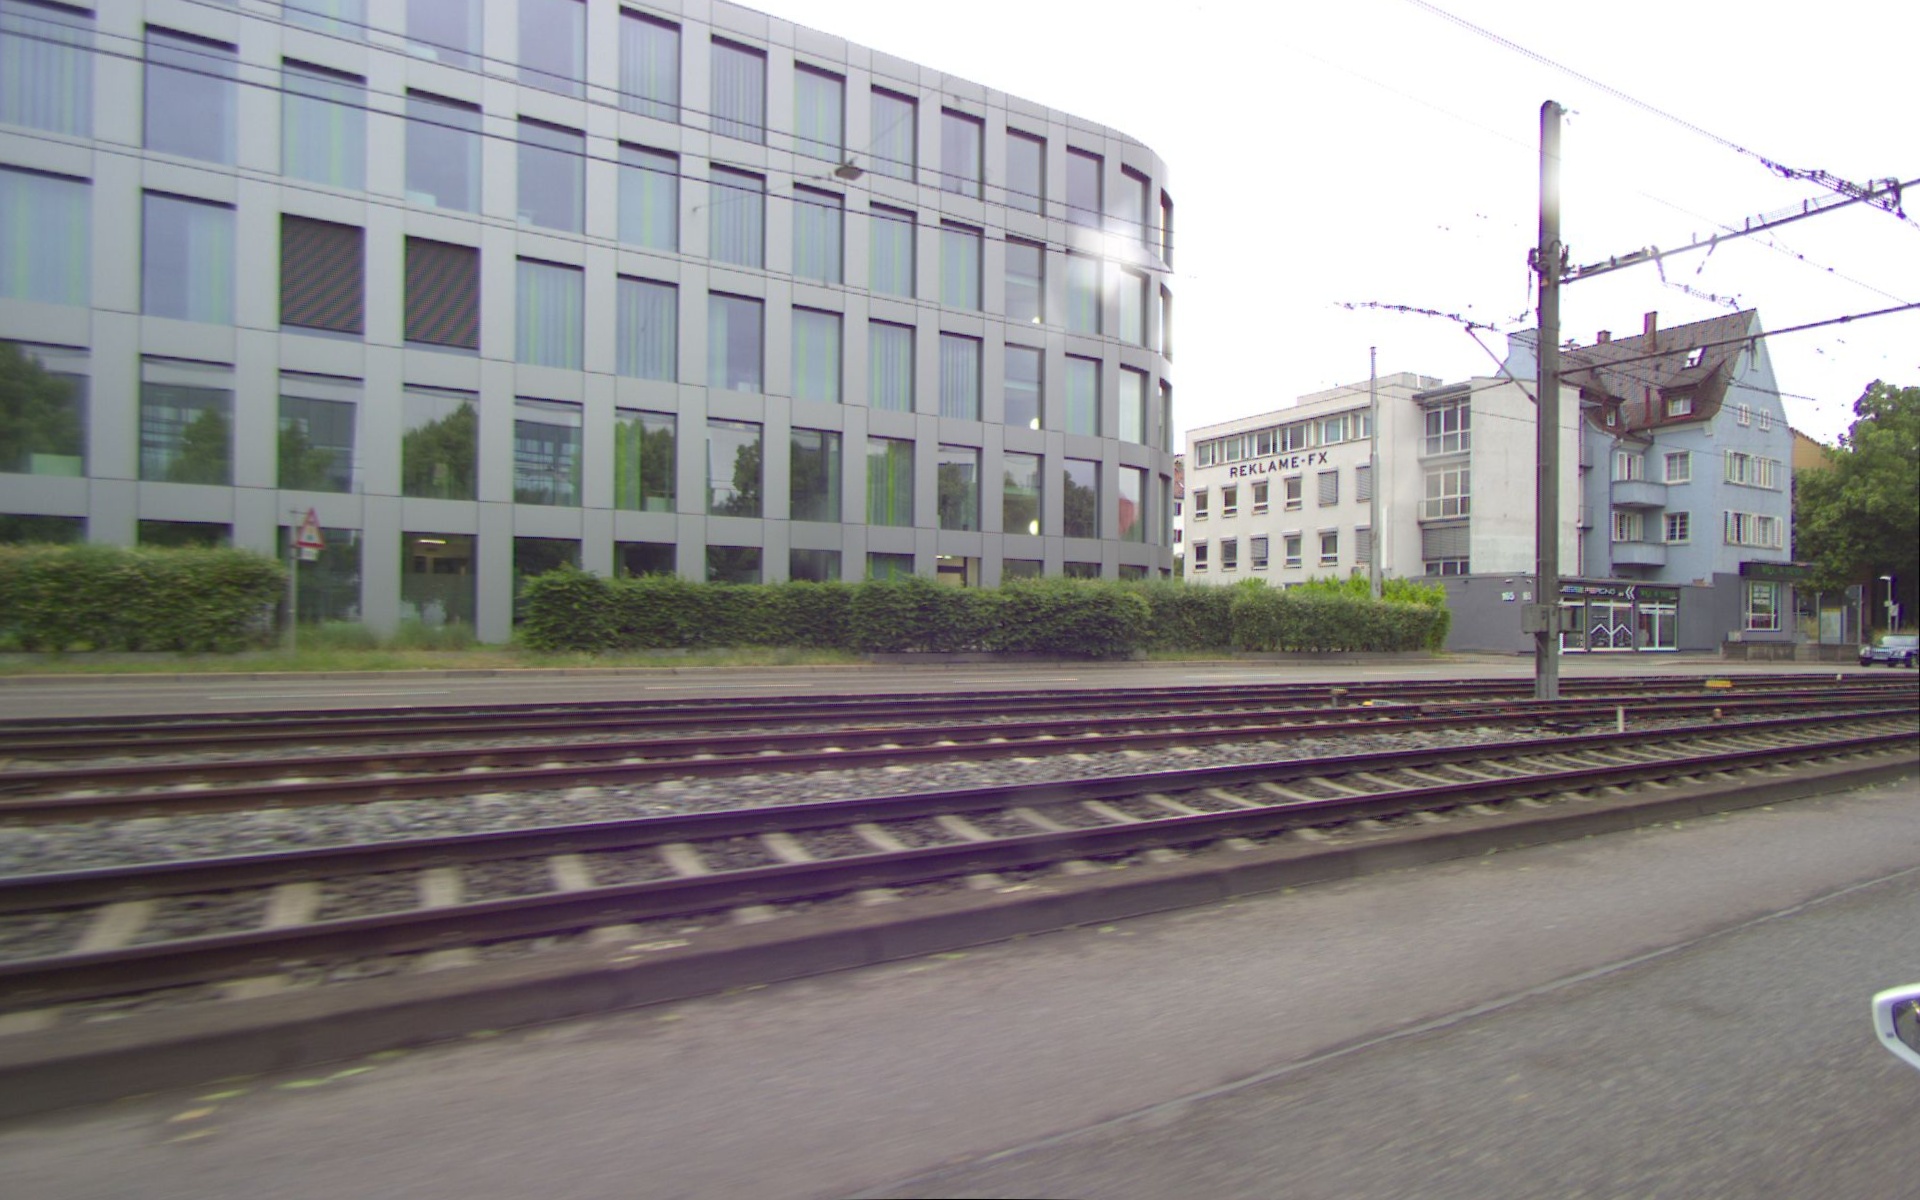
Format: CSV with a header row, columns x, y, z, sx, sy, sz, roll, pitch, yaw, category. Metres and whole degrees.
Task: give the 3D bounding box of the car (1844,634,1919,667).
x,y,z,sx,sy,sz,roll,pitch,yaw,category
41.396,2.233,44.481,4.768,1.342,1.894,2,-1,-29,car
